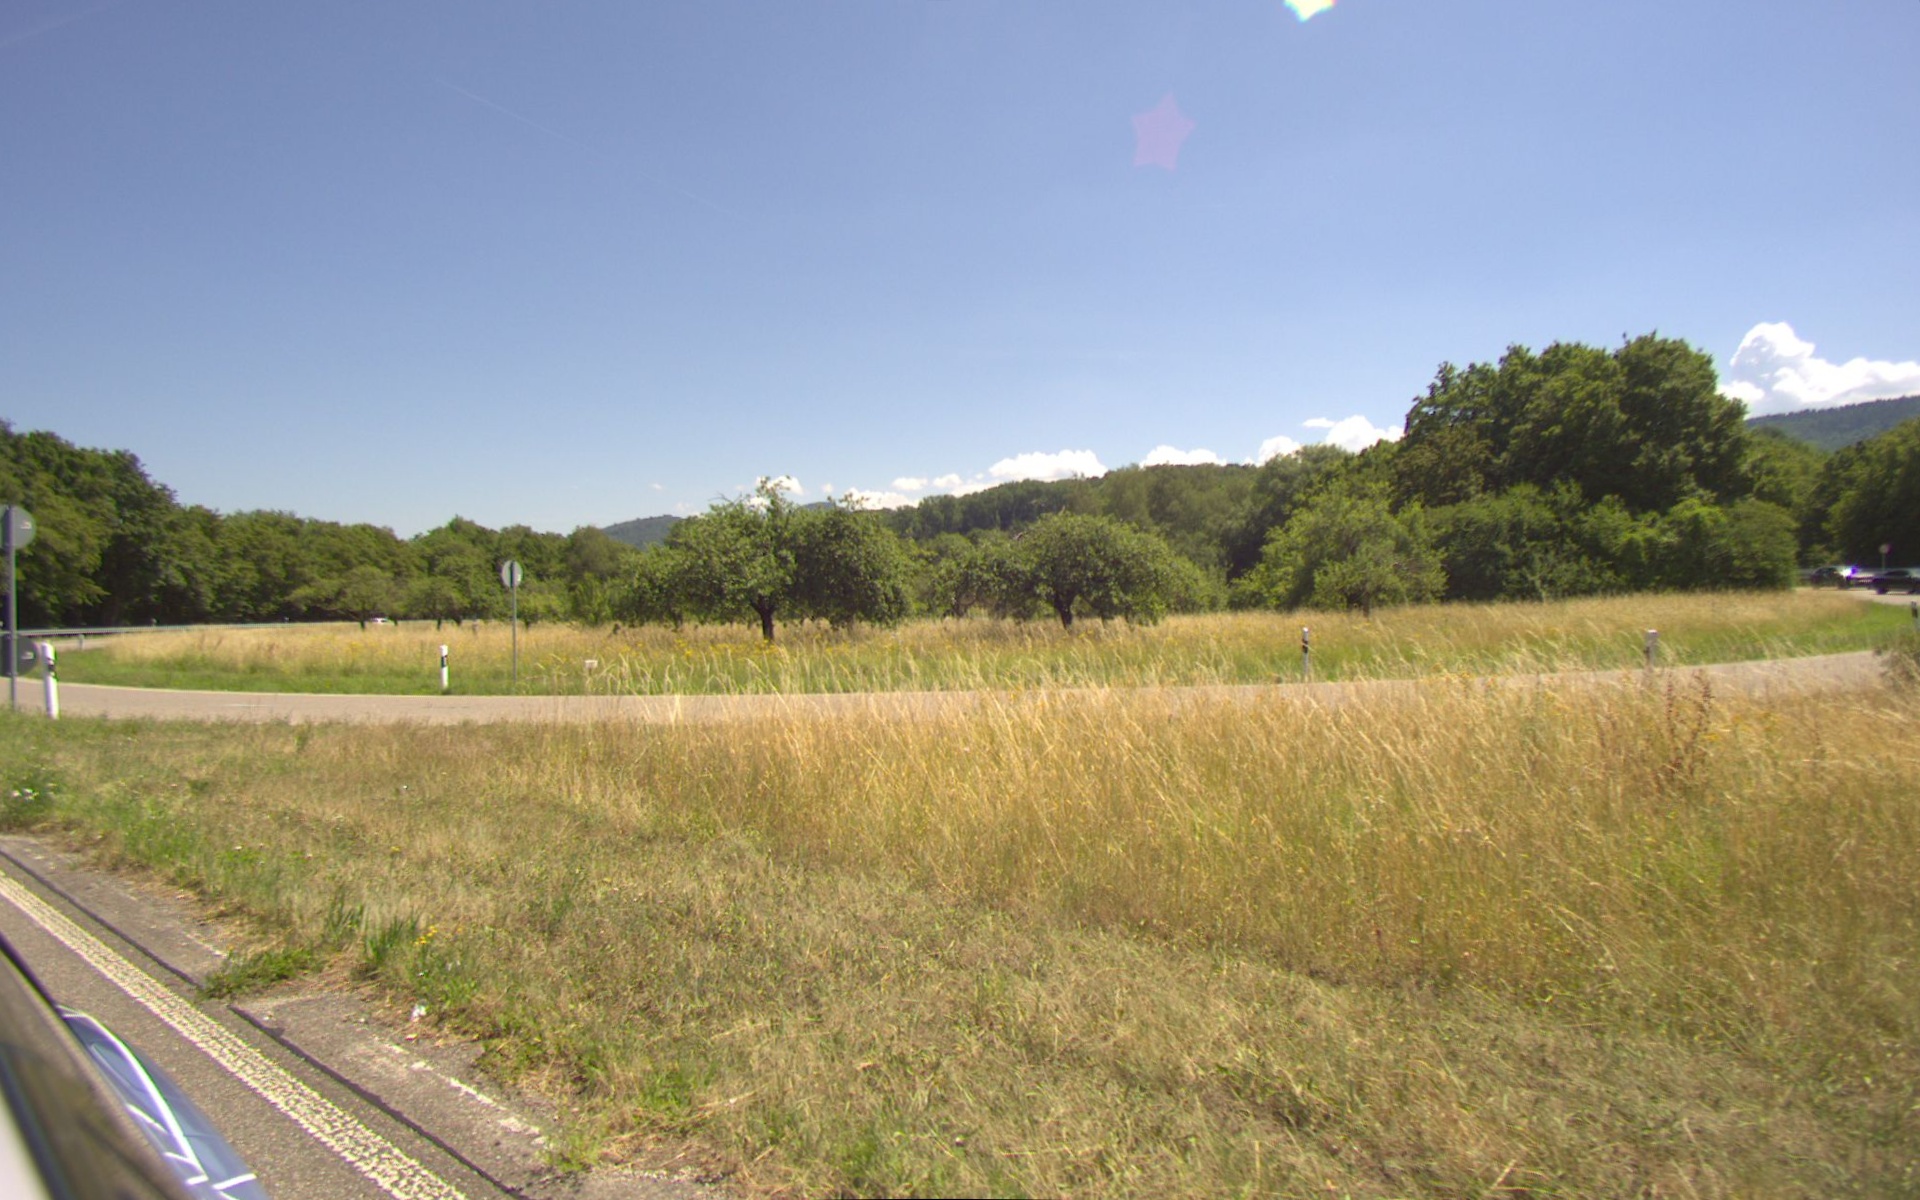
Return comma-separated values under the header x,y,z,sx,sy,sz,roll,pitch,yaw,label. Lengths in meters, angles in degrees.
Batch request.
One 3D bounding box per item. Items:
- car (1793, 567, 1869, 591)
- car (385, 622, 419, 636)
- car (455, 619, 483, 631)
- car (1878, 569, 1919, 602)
x,y,z,sx,sy,sz,roll,pitch,yaw,label
57.397,-1.394,66.789,1.799,1.508,4.010,-1,1,5,car
-64.226,3.327,116.540,1.801,1.518,4.174,1,-3,-3,car
-68.569,3.462,141.410,1.803,1.469,4.400,3,-1,0,car
52.856,-0.818,55.552,1.981,1.696,3.982,-1,1,14,car
